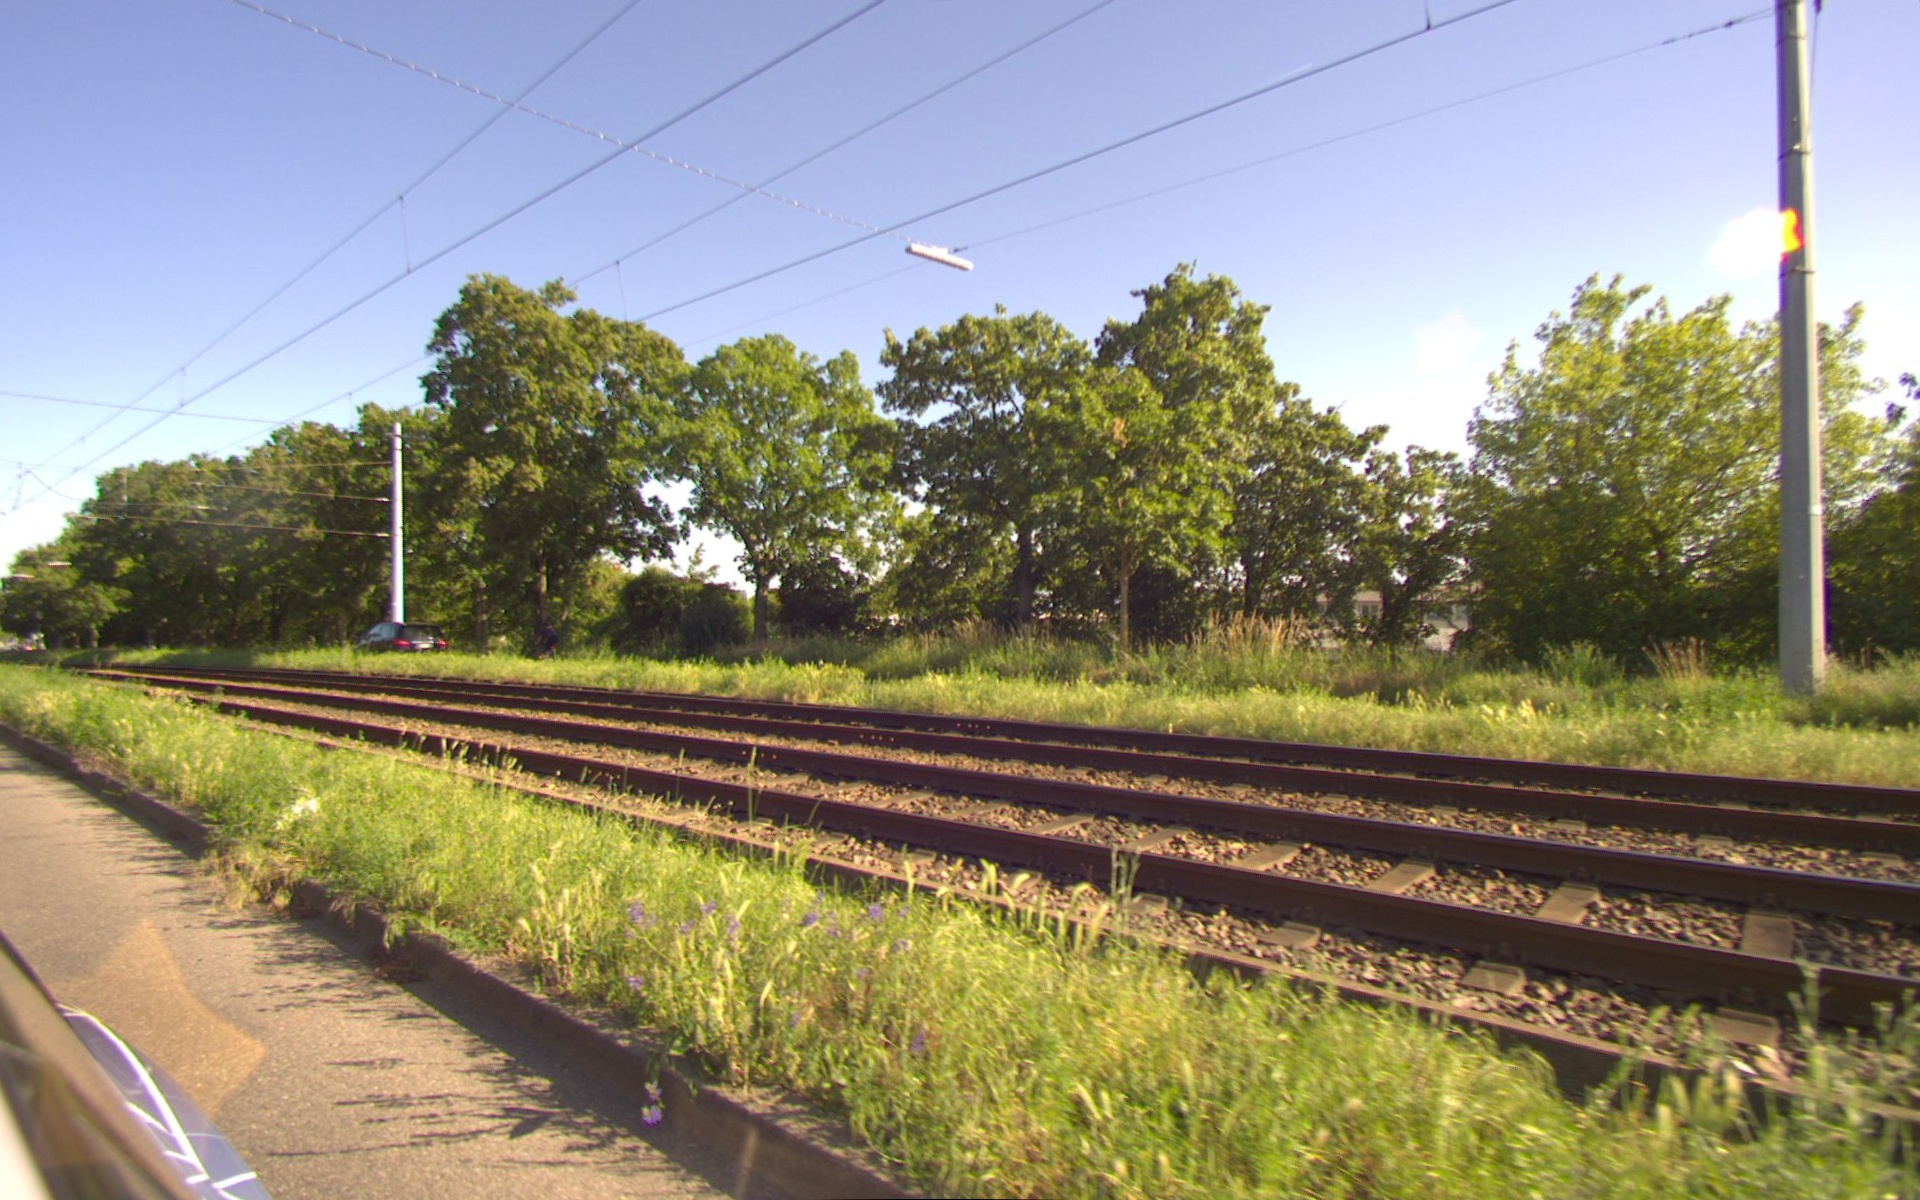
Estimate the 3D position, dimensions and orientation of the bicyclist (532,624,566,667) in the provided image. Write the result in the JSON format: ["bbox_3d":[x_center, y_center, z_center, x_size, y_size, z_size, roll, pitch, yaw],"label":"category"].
[{"bbox_3d":[-12.942,1.429,31.851,0.987,1.320,0.576,-3,-1,42],"label":"bicyclist"}]

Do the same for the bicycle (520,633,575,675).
[{"bbox_3d":[-13.034,1.705,31.940,2.426,1.271,0.583,-3,-1,42],"label":"bicycle"}]

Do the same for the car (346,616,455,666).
[{"bbox_3d":[-18.332,1.341,33.103,4.405,1.500,1.790,-3,-1,42],"label":"car"}]
